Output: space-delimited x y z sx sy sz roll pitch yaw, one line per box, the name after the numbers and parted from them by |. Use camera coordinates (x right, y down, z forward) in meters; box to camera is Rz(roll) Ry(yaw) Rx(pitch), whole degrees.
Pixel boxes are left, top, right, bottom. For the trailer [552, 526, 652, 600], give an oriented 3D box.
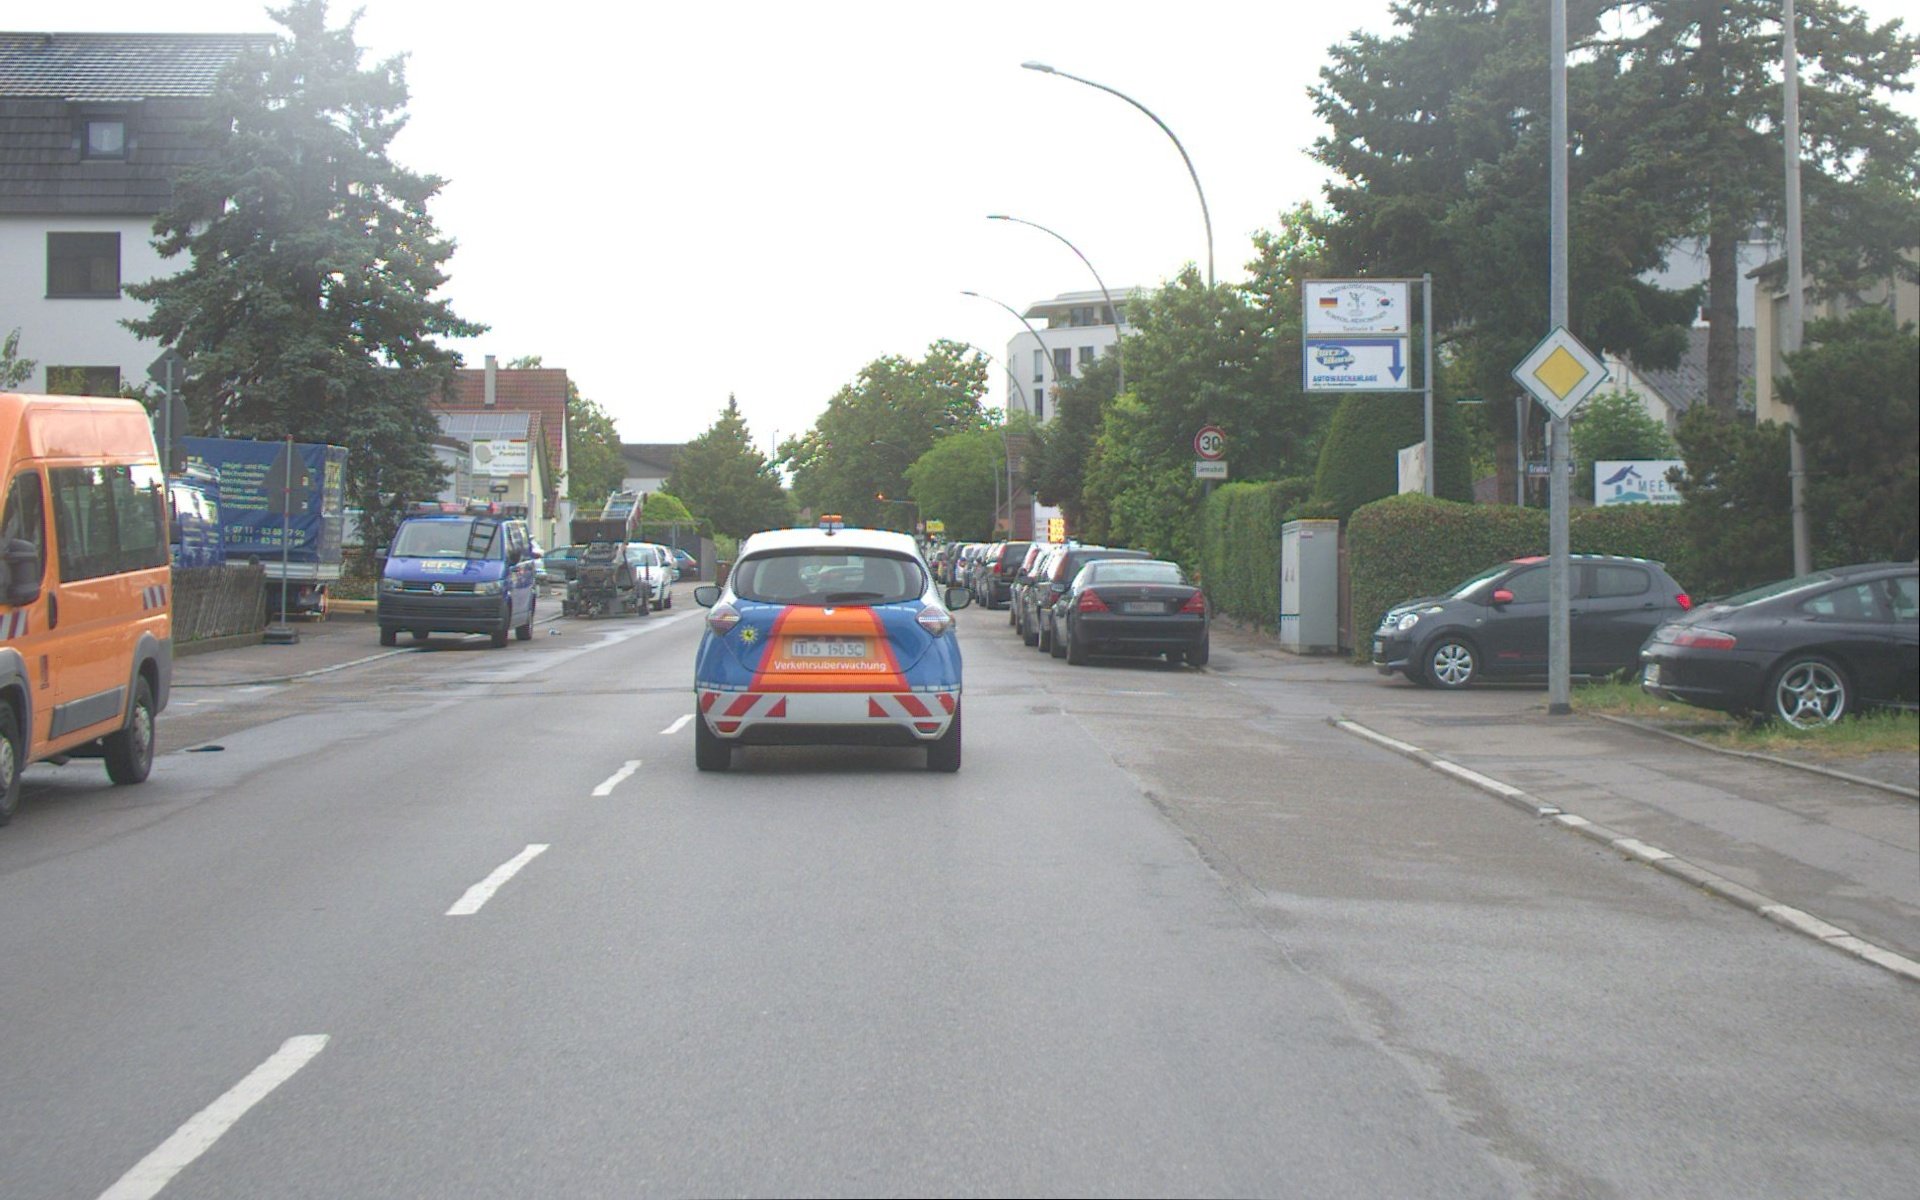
-7.243 -0.779 69.899 1.717 1.256 5.245 1 3 -3 | trailer

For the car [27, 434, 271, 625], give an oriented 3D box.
-11.691 -0.996 50.040 2.075 2.558 6.202 1 1 0 | car

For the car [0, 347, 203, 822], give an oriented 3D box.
-6.241 -0.116 20.625 2.124 2.529 6.023 -2 1 -1 | car

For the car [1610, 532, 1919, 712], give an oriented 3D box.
7.105 0.176 26.005 3.987 1.262 1.951 1 1 1 | car

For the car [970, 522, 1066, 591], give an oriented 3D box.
1.235 -0.948 75.049 1.711 1.433 4.527 1 1 -3 | car

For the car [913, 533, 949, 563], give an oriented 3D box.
-1.502 -2.679 177.198 1.650 1.478 4.001 1 1 -3 | car

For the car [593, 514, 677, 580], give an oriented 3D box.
-7.324 -1.194 77.706 1.557 1.428 4.000 1 1 -1 | car

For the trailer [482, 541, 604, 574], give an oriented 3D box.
-14.238 -1.452 117.501 4.022 0.991 1.655 1 1 -2 | trailer

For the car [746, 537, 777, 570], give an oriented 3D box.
-8.998 -2.130 155.918 1.386 1.478 3.784 0 1 -3 | car

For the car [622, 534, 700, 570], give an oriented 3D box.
-12.756 -2.056 146.845 3.281 1.443 1.480 -1 1 -5 | car

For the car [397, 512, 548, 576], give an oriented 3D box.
-12.839 -1.475 90.673 3.759 1.562 1.655 1 1 -2 | car

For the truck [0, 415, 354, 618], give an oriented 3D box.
-12.912 -1.330 55.084 5.911 3.063 2.450 1 1 0 | truck

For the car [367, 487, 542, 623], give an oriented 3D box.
-7.587 -0.680 52.054 1.993 1.940 5.366 0 1 -2 | car

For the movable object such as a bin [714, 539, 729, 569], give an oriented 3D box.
-9.783 -1.887 140.913 0.579 1.200 0.318 1 1 -1 | movable object such as a bin

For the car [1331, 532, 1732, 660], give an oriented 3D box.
6.214 -0.054 37.696 3.986 1.262 1.951 1 1 -2 | car

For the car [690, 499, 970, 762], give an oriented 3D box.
-0.862 0.167 23.069 1.731 1.625 3.495 0 1 -2 | car

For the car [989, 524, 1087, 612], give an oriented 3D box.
1.319 -0.576 59.490 1.487 1.434 3.807 1 1 -1 | car

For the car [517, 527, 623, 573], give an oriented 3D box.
-13.600 -1.750 119.973 3.579 1.521 1.656 1 1 -5 | car

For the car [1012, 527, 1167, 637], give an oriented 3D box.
1.747 -0.268 47.767 1.656 1.414 4.778 1 1 -3 | car

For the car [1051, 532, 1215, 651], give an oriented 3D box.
2.111 -0.143 42.925 1.589 1.336 4.093 3 1 -3 | car

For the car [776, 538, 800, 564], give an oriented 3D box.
-8.580 -2.447 171.426 1.151 1.228 3.373 0 1 -3 | car
